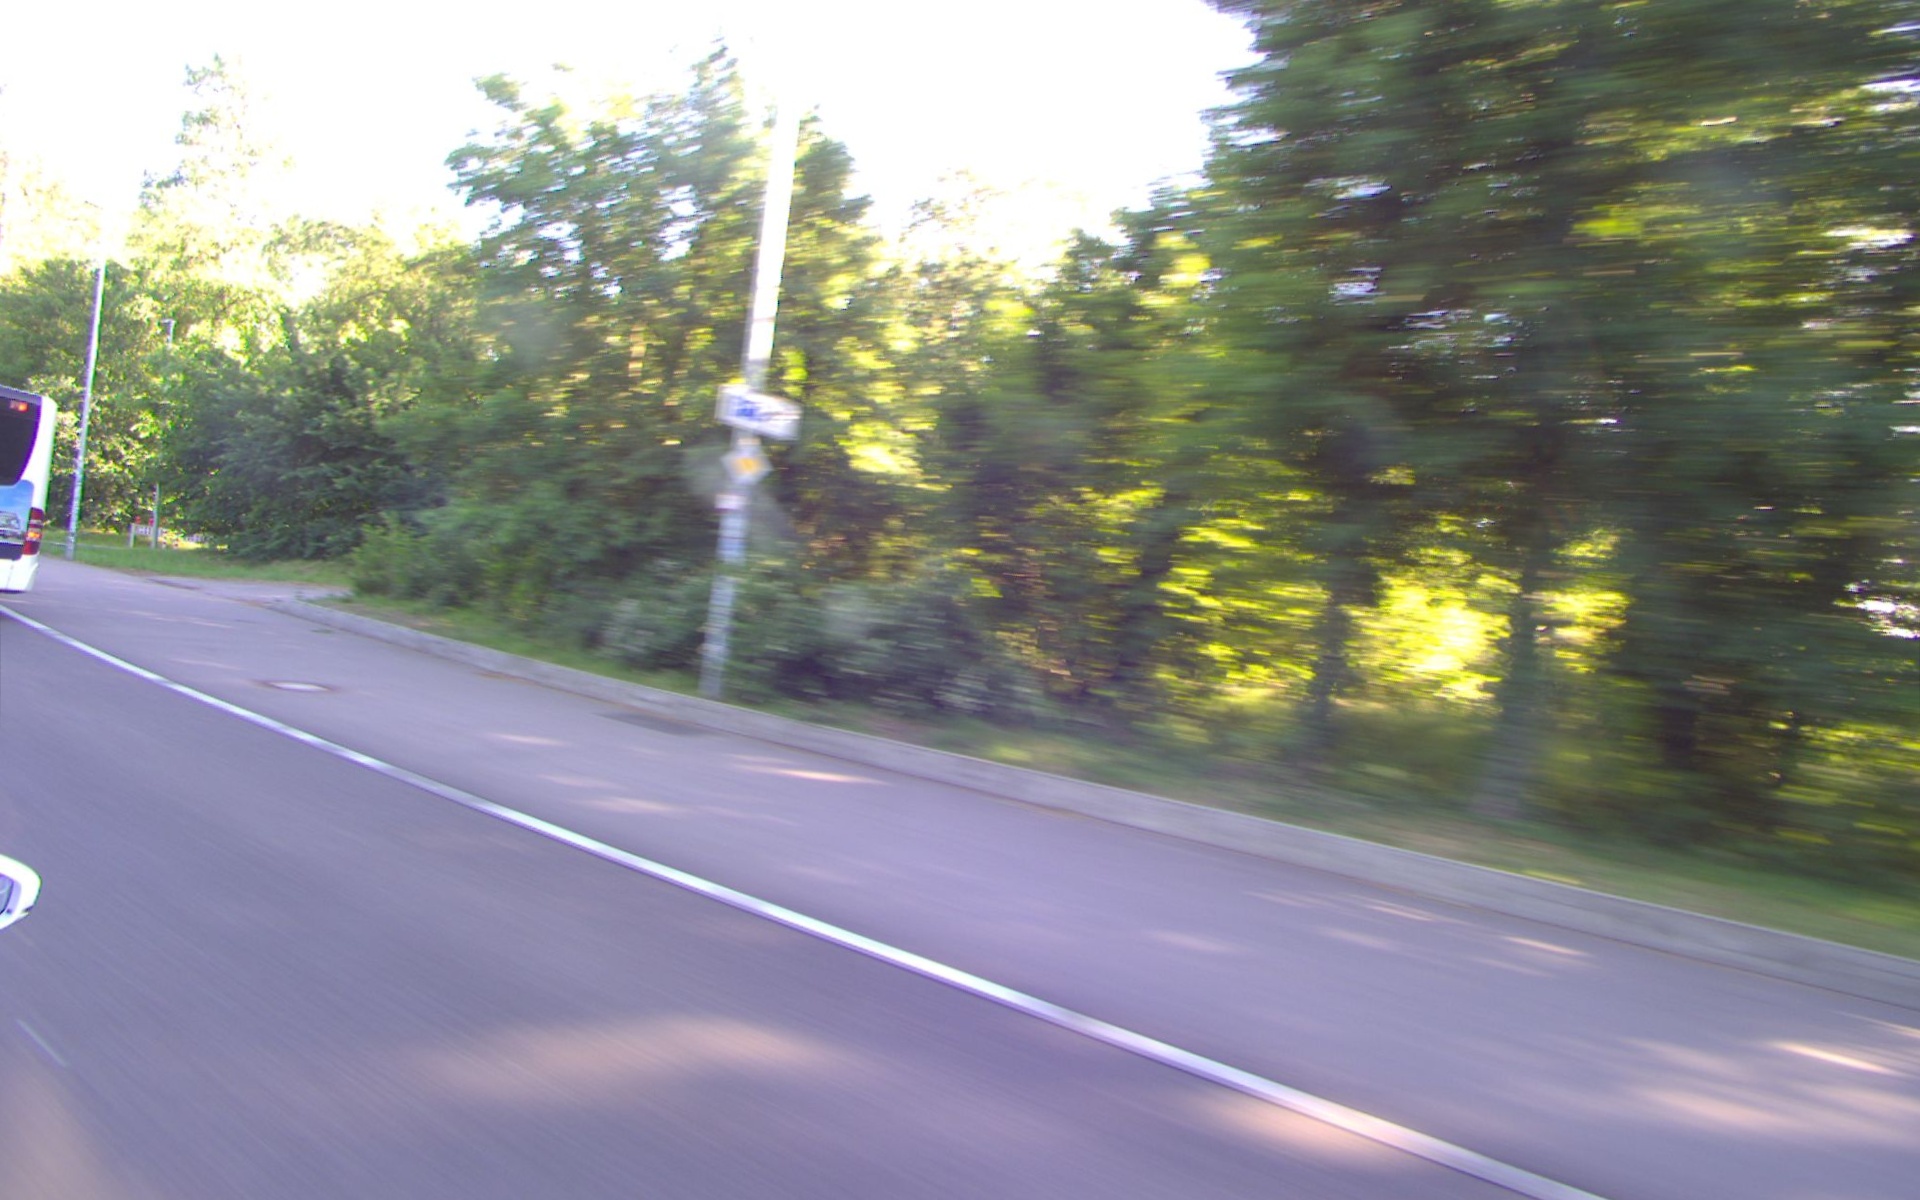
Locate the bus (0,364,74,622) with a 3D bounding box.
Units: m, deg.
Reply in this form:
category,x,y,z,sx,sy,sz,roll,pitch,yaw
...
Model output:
category,x,y,z,sx,sy,sz,roll,pitch,yaw
bus,-16.933,-1.890,15.021,11.853,3.078,2.692,6,-2,35
